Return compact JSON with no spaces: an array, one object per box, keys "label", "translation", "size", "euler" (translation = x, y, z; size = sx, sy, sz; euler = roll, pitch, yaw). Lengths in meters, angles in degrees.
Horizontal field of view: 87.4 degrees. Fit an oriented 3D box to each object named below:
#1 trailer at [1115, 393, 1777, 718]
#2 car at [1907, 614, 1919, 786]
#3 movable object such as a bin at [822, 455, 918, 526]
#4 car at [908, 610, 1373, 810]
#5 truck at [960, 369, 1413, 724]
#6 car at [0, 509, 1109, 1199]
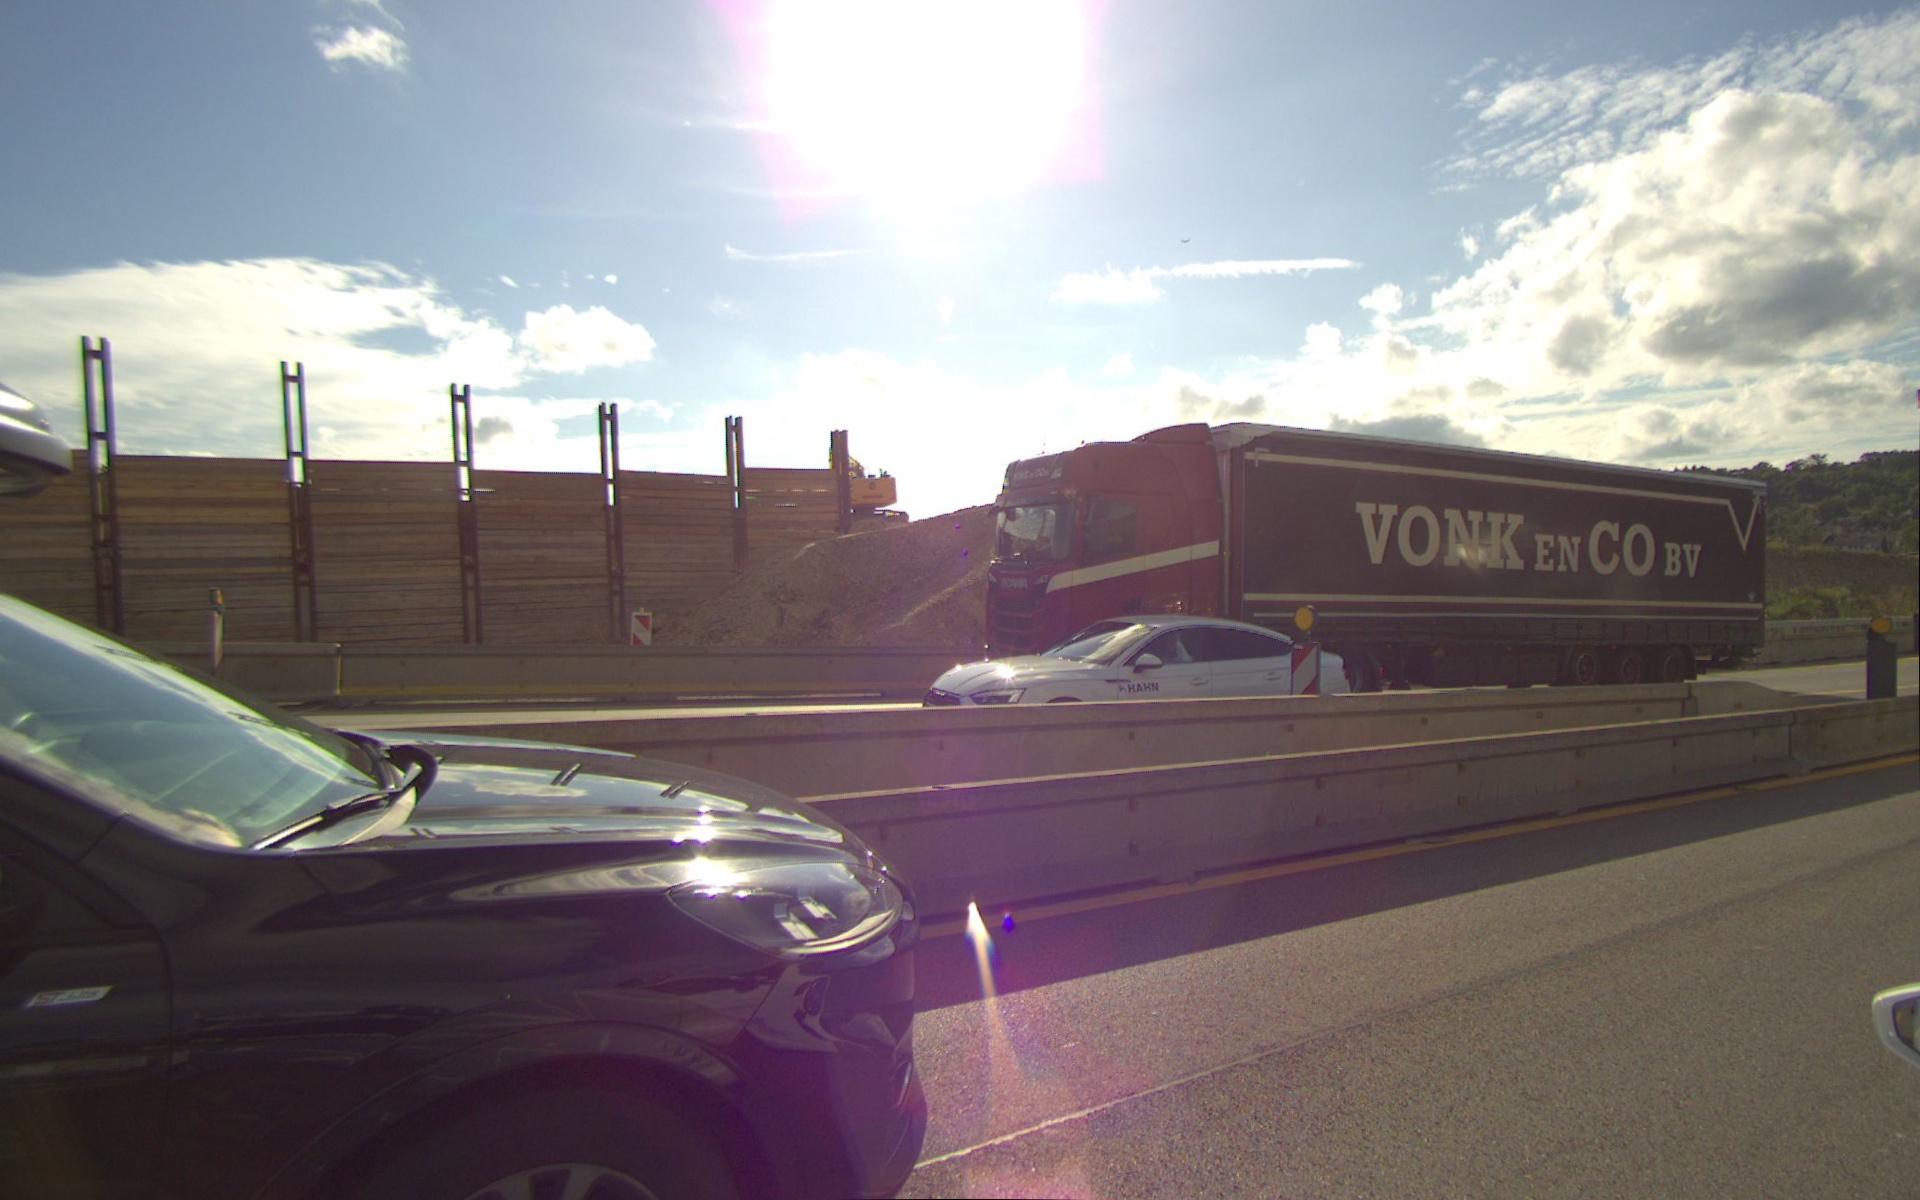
[{"label":"trailer","translation":[9.354,-0.537,18.207],"size":[13.634,4.482,2.966],"euler":[1,1,-26]},{"label":"car","translation":[10.762,0.928,9.252],"size":[4.463,1.511,1.761],"euler":[1,0,-30]},{"label":"movable object such as a bin","translation":[-5.497,-6.436,59.986],"size":[4.440,3.314,5.742],"euler":[3,-1,-18]},{"label":"car","translation":[1.878,0.995,10.329],"size":[4.443,1.670,1.839],"euler":[1,0,-25]},{"label":"truck","translation":[3.454,-0.653,15.295],"size":[6.203,4.446,2.904],"euler":[1,1,-26]},{"label":"car","translation":[-2.033,0.667,1.611],"size":[4.333,1.563,1.791],"euler":[2,-1,-30]}]
